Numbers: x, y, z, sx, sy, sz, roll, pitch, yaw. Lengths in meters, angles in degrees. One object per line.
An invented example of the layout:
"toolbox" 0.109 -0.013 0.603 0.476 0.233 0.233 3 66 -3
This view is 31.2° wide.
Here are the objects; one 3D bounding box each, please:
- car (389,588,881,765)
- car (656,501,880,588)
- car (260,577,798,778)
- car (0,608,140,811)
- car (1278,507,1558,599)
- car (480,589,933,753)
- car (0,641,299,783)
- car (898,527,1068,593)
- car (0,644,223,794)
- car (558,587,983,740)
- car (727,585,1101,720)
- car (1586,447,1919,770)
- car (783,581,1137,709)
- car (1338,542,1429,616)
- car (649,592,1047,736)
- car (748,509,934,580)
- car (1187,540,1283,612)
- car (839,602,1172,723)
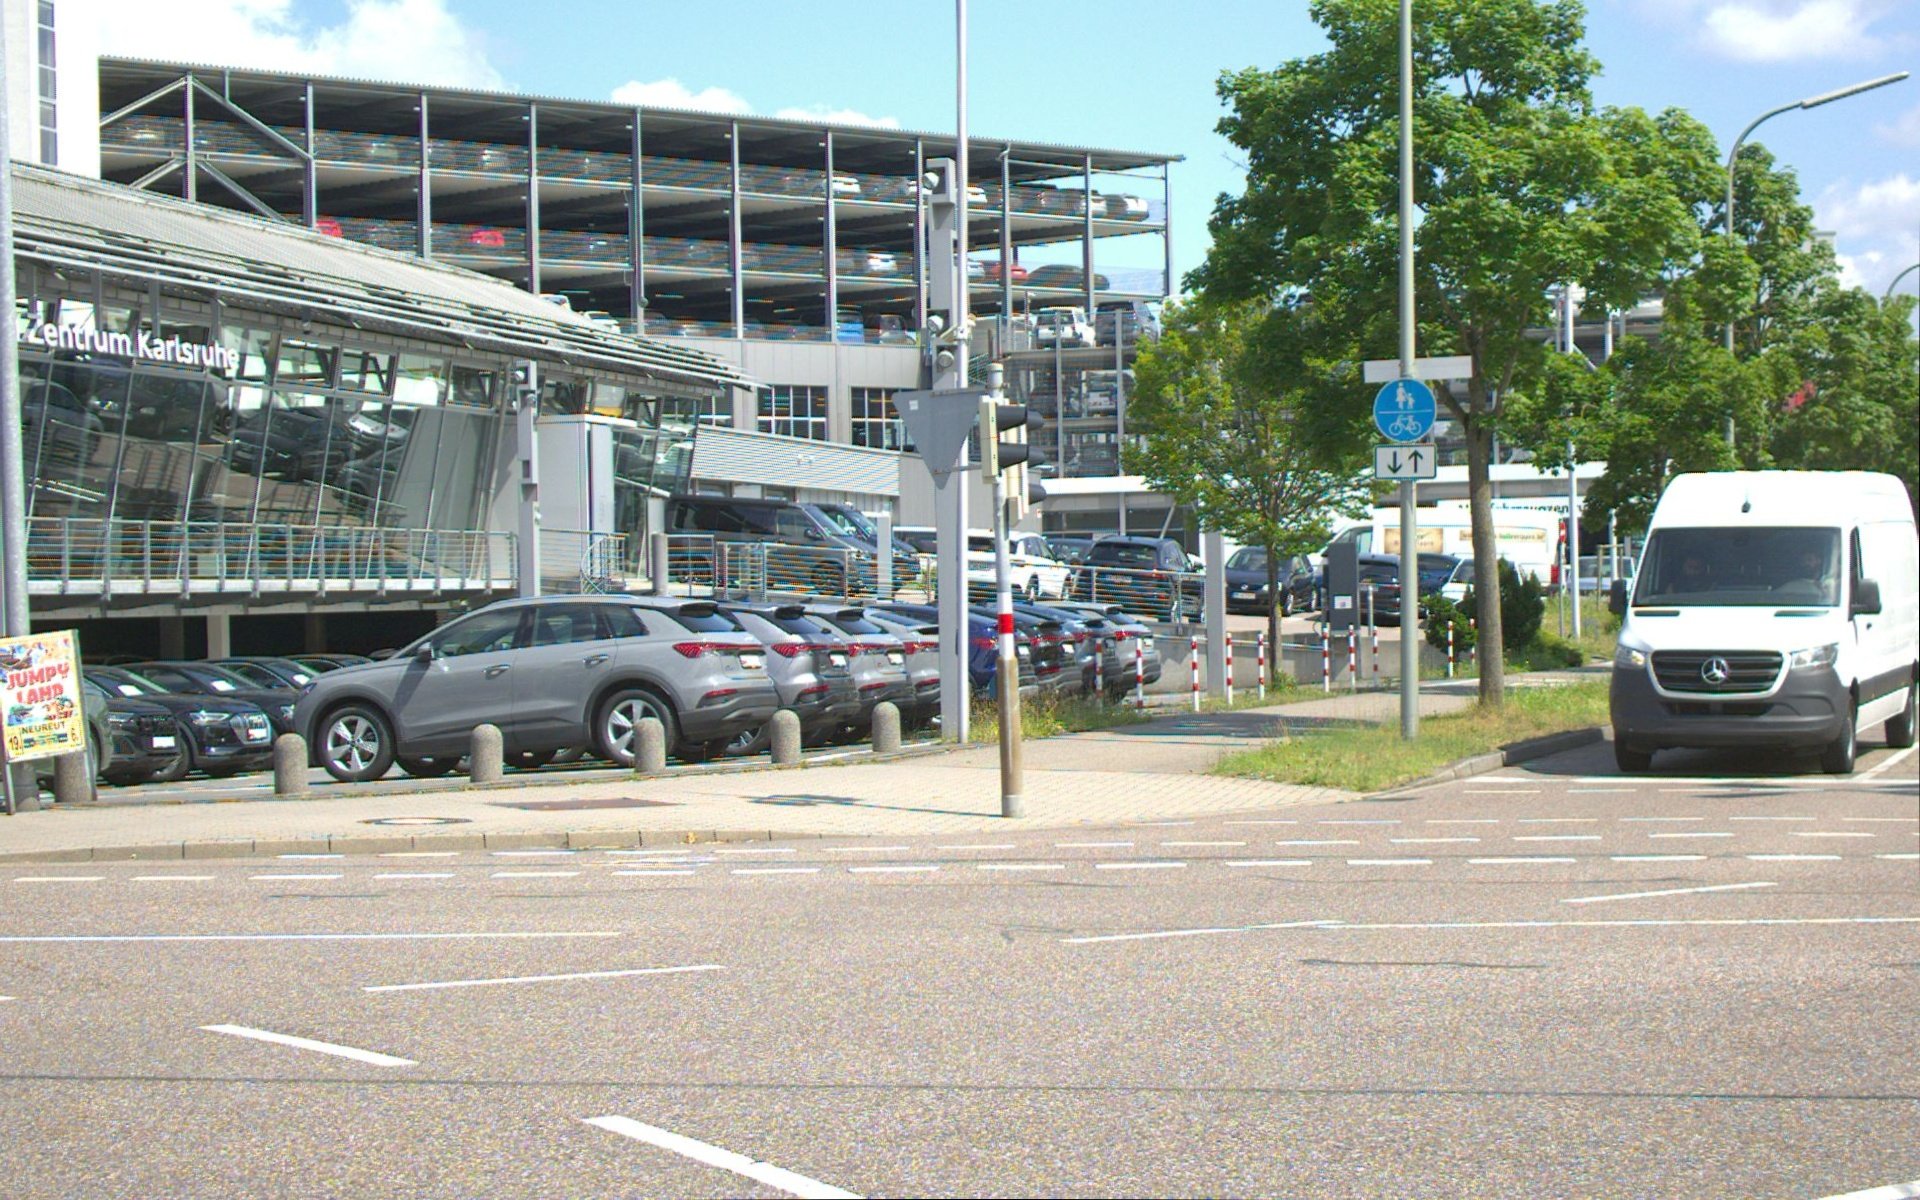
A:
"car" -3.272 0.741 34.845 4.578 1.672 1.906 1 0 16
"car" -4.074 -1.175 73.168 4.444 1.795 1.764 1 0 13
"car" -4.025 0.730 32.290 4.578 1.672 1.906 -3 -1 15
"car" -8.850 0.906 28.902 1.902 1.672 4.587 1 0 14
"car" 10.825 -1.116 81.181 6.391 2.095 1.764 1 0 14
"car" -2.769 0.750 37.777 4.578 1.672 1.906 1 0 16
"car" -11.228 1.439 45.214 4.540 1.734 1.999 1 0 12
"car" 0.576 -0.983 84.600 3.988 1.547 1.764 1 0 7
"car" -11.721 1.439 42.814 4.540 1.734 1.999 1 0 12
"car" -2.197 0.714 40.212 4.578 1.672 1.906 1 0 16
"car" -0.590 0.672 45.405 4.578 1.672 1.906 1 0 16
"car" 7.407 0.074 31.320 2.135 2.598 6.856 1 0 21
"car" 0.014 0.607 47.927 4.578 1.672 1.906 1 0 16
"car" 9.127 -0.431 73.941 1.562 1.547 3.600 1 0 13
"car" -1.378 0.771 42.790 4.578 1.672 1.906 1 0 16
"car" -2.678 -1.256 78.114 3.988 1.547 1.764 1 0 7
"car" 6.060 -0.512 75.445 1.562 1.547 3.600 1 0 13
"car" 0.689 0.900 50.751 4.578 1.672 1.906 1 0 16
